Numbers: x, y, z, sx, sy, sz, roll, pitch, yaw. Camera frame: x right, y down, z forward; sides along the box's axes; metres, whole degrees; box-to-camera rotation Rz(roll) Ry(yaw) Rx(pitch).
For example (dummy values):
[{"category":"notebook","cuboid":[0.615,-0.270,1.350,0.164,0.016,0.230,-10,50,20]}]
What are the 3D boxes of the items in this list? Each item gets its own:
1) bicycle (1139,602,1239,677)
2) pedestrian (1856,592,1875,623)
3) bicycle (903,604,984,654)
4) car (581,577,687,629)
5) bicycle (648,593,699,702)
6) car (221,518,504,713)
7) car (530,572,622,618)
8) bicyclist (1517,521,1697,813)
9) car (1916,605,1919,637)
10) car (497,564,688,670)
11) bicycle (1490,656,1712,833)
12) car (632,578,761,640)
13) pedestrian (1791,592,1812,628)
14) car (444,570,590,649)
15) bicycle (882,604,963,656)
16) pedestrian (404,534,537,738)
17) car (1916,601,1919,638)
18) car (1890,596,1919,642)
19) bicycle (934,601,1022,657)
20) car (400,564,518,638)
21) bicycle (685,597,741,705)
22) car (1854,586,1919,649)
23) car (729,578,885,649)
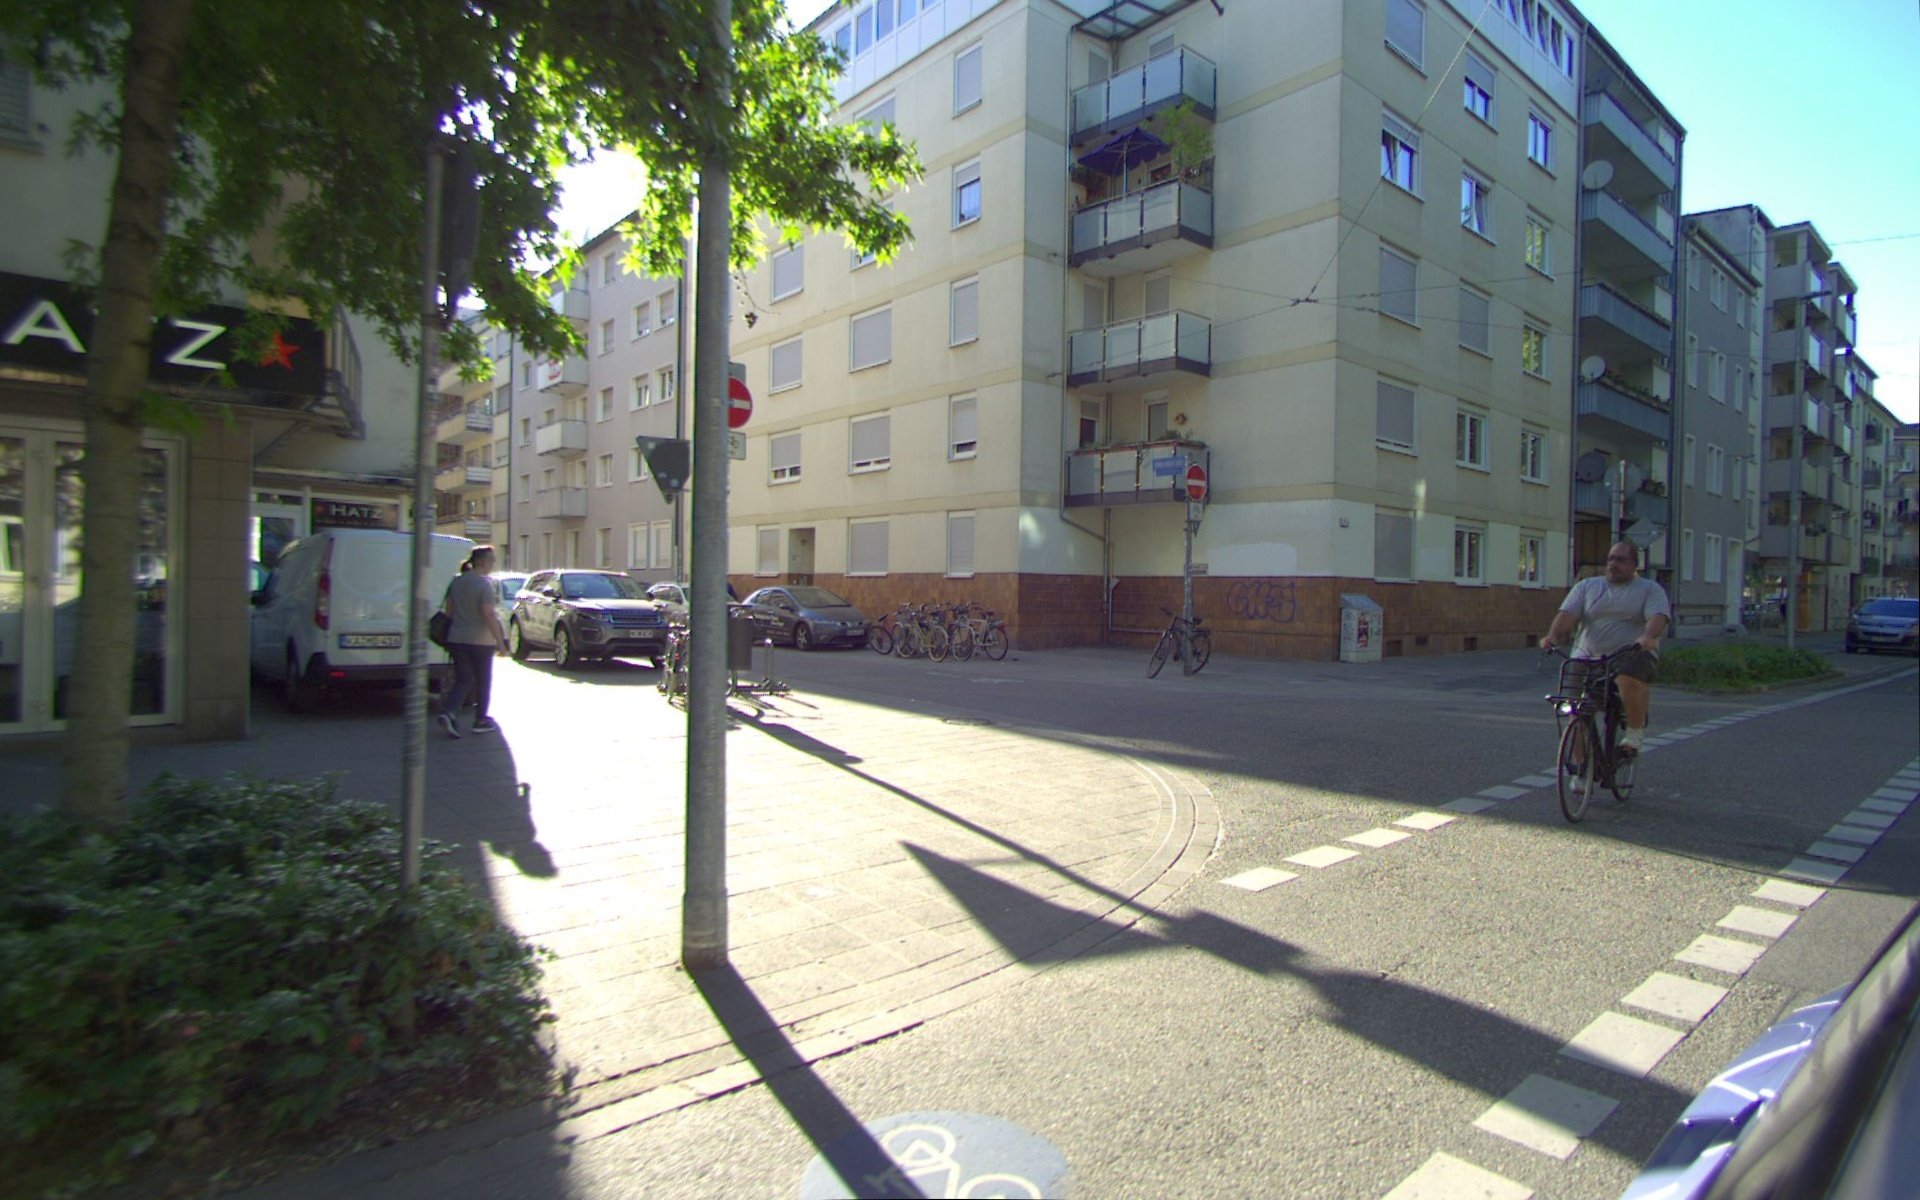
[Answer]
[{"category":"bicycle","cuboid":[3.902,0.637,17.142,1.961,1.166,0.615,0,1,-41]},{"category":"pedestrian","cuboid":[50.346,0.398,56.264,0.666,1.716,0.696,0,0,-41]},{"category":"bicycle","cuboid":[-0.352,0.556,20.376,0.490,0.942,2.111,0,0,-37]},{"category":"car","cuboid":[-10.327,0.052,31.887,1.696,1.527,3.992,0,1,-42]},{"category":"bicycle","cuboid":[-3.541,0.527,12.426,0.471,1.222,2.078,0,0,-20]},{"category":"car","cuboid":[-6.870,0.128,11.461,3.986,1.820,1.758,0,0,44]},{"category":"car","cuboid":[-13.637,-0.185,35.826,1.696,1.527,3.992,0,1,-42]},{"category":"bicyclist","cuboid":[4.535,0.425,7.082,1.080,1.854,0.768,0,-1,-41]},{"category":"car","cuboid":[46.849,0.987,46.585,1.966,1.485,3.992,0,0,-42]},{"category":"car","cuboid":[-6.378,0.224,17.329,1.696,1.601,3.992,0,1,-42]},{"category":"bicycle","cuboid":[4.484,0.920,7.024,1.905,0.949,0.790,0,0,-41]},{"category":"car","cuboid":[-7.279,0.189,27.722,1.696,1.526,4.109,-2,2,-42]},{"category":"pedestrian","cuboid":[35.884,0.435,43.151,0.589,1.521,0.590,0,0,-41]},{"category":"car","cuboid":[-9.557,0.158,21.688,1.696,1.527,3.992,0,1,-42]},{"category":"bicycle","cuboid":[-0.764,0.560,19.871,0.490,0.942,2.111,0,0,-37]},{"category":"pedestrian","cuboid":[-4.339,0.295,9.009,0.694,1.706,0.769,2,0,13]},{"category":"car","cuboid":[42.445,0.811,43.289,3.930,1.527,1.866,0,0,-41]},{"category":"car","cuboid":[37.503,0.697,39.008,3.930,1.705,1.997,0,0,-41]},{"category":"bicycle","cuboid":[0.337,0.560,20.587,0.596,1.004,2.111,0,2,-37]},{"category":"car","cuboid":[-12.849,-0.006,25.847,1.696,1.729,3.992,0,1,-42]},{"category":"bicycle","cuboid":[-3.099,0.582,12.594,0.471,1.222,2.078,0,0,-20]},{"category":"car","cuboid":[30.741,0.539,32.936,3.930,1.949,1.957,0,0,-41]},{"category":"car","cuboid":[-3.638,0.259,23.665,1.696,1.527,3.992,0,1,-42]}]
